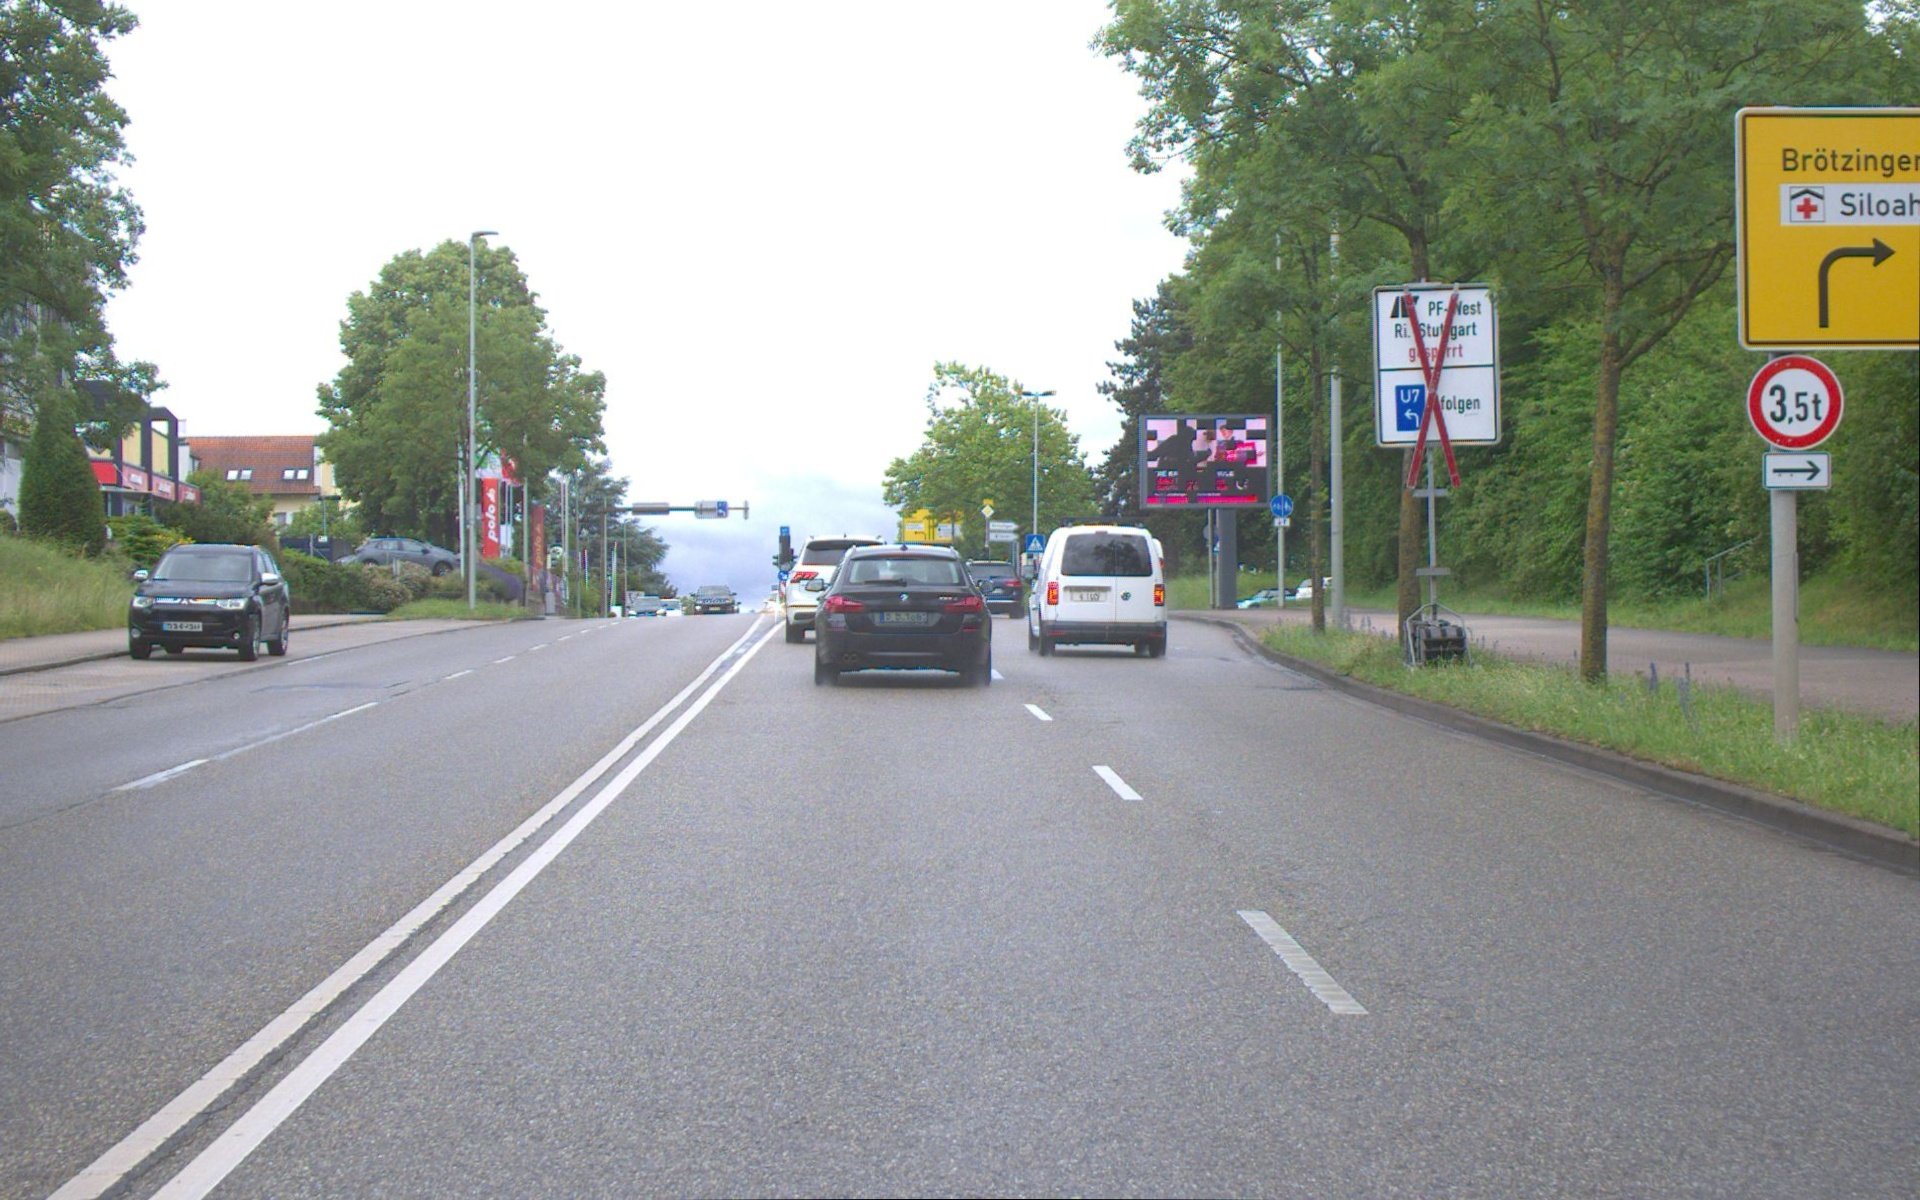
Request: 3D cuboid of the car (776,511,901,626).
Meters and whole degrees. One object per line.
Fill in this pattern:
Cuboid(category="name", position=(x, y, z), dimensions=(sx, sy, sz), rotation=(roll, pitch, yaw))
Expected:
Cuboid(category="car", position=(-1.853, -0.513, 53.349), dimensions=(1.728, 1.705, 3.382), rotation=(1, 1, 1))

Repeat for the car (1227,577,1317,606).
Cuboid(category="car", position=(15.123, -0.422, 166.575), dimensions=(3.986, 1.289, 1.609), rotation=(-2, 1, -20))

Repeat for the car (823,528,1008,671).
Cuboid(category="car", position=(-0.433, -0.044, 36.843), dimensions=(1.855, 1.414, 3.957), rotation=(1, 1, 1))

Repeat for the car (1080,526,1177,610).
Cuboid(category="car", position=(3.501, -0.689, 71.858), dimensions=(1.814, 1.702, 3.946), rotation=(-1, 1, 0))

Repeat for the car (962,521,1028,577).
Cuboid(category="car", position=(0.874, -1.308, 87.403), dimensions=(1.600, 1.367, 3.680), rotation=(-1, 1, 0))

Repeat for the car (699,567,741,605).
Cuboid(category="car", position=(-10.734, -0.630, 154.056), dimensions=(1.795, 1.578, 4.199), rotation=(-1, 1, -3))

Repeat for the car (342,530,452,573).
Cuboid(category="car", position=(-19.908, -1.720, 121.617), dimensions=(3.825, 1.477, 1.742), rotation=(-1, 0, -9))

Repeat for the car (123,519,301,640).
Cuboid(category="car", position=(-10.944, -0.329, 50.556), dimensions=(1.726, 1.662, 4.488), rotation=(1, 1, -2))

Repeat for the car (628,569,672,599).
Cuboid(category="car", position=(-15.014, -0.794, 166.686), dimensions=(1.793, 1.397, 4.300), rotation=(-2, 1, -1))

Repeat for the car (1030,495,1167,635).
Cuboid(category="car", position=(1.908, -0.504, 48.339), dimensions=(1.741, 1.863, 3.946), rotation=(1, 1, 0))
